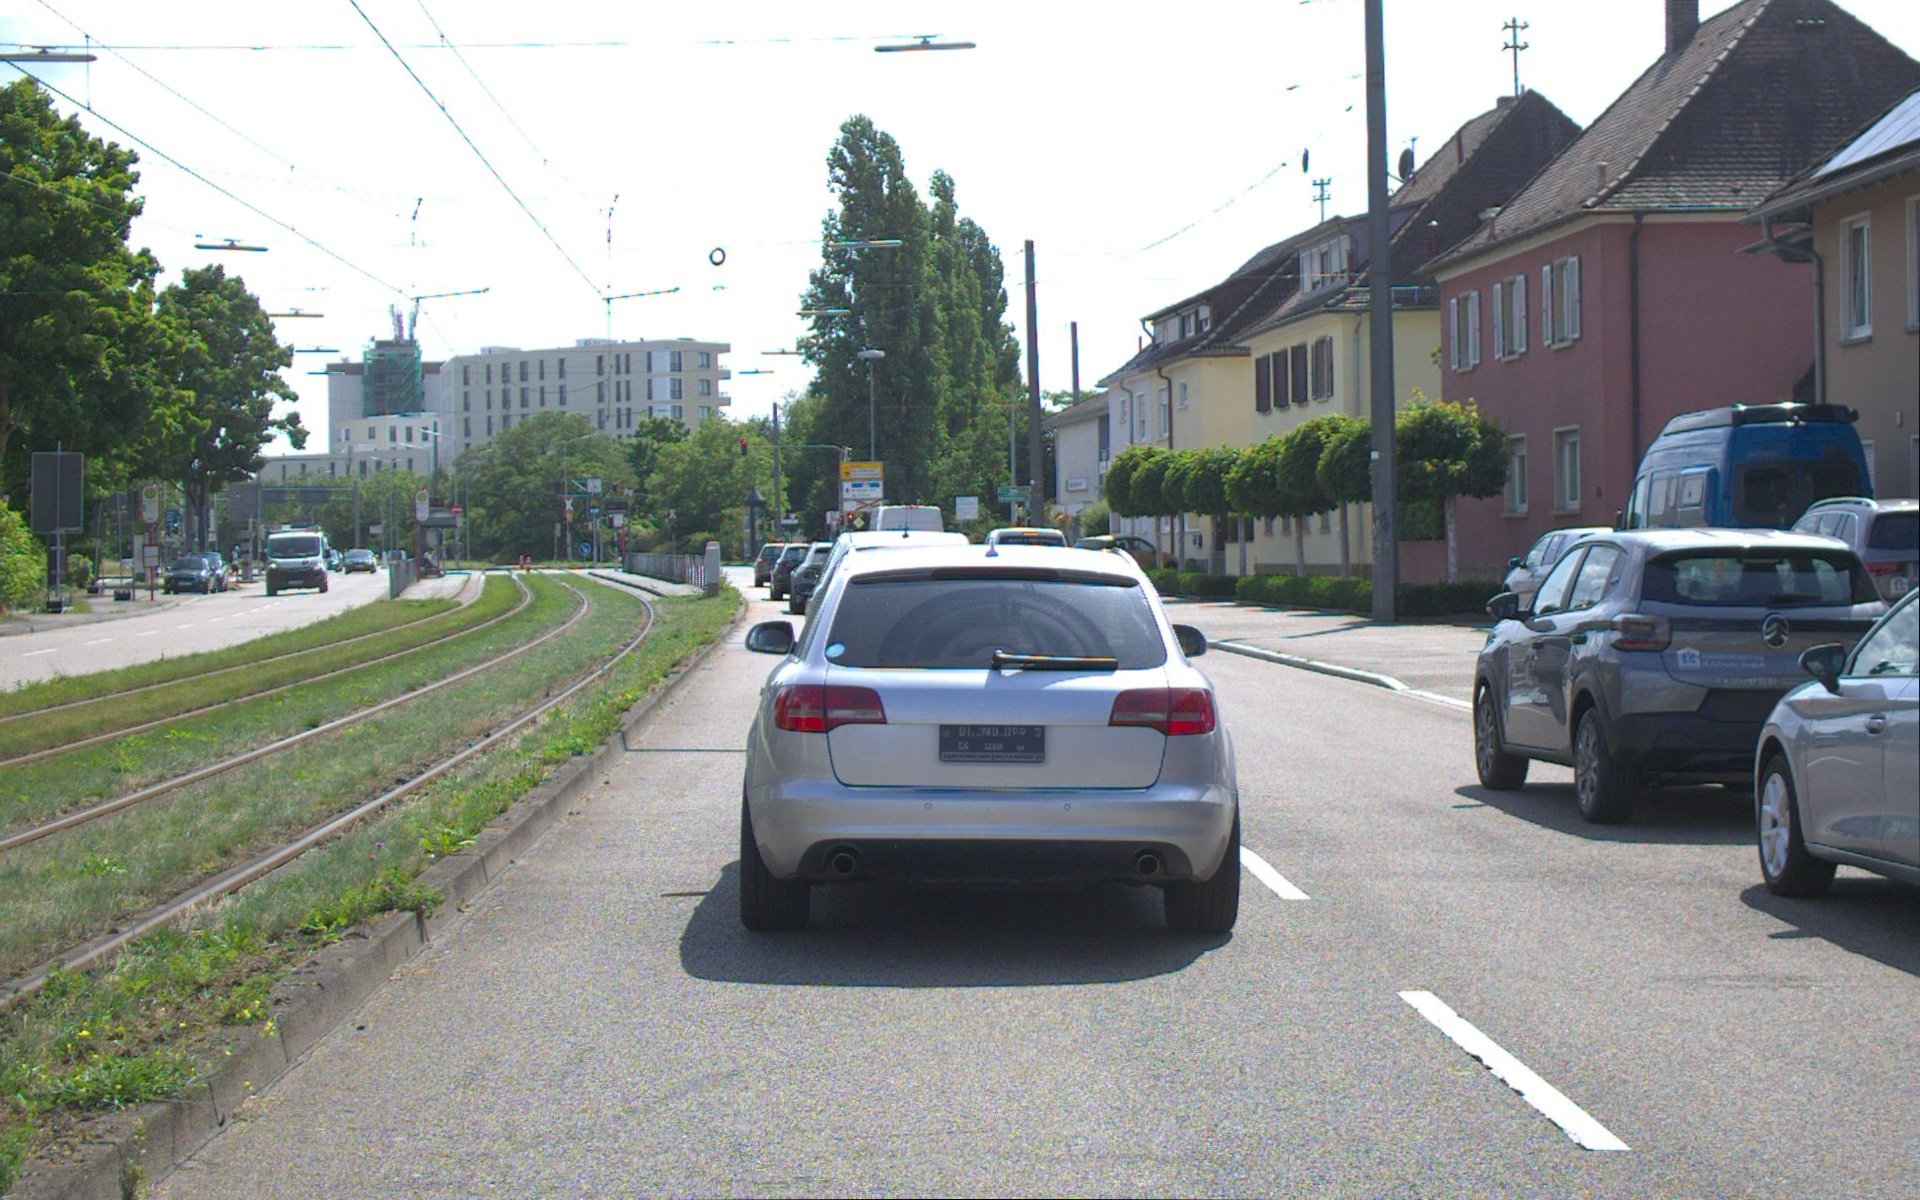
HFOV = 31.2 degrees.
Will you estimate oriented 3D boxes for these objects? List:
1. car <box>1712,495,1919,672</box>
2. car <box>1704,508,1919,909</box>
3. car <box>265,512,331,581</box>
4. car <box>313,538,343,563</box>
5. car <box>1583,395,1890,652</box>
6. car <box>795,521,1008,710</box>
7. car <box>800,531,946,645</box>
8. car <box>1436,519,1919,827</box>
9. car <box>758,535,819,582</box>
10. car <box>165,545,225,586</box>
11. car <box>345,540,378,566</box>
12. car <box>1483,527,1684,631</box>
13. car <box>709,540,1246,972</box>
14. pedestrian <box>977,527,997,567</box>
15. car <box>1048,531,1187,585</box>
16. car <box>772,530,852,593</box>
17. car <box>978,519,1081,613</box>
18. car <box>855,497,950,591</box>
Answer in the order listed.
[{"bbox_3d":[9.545,-0.228,36.370,1.836,1.705,4.865,-2,1,-3],"label":"car"},{"bbox_3d":[4.353,0.400,12.996,1.814,1.449,4.644,1,0,-3],"label":"car"},{"bbox_3d":[-23.521,-1.881,122.187,2.196,2.364,5.334,-2,1,-11],"label":"car"},{"bbox_3d":[-42.444,-3.320,230.757,1.862,1.645,4.001,1,0,-12],"label":"car"},{"bbox_3d":[9.485,-0.905,42.613,2.151,2.920,6.245,1,0,-2],"label":"car"},{"bbox_3d":[-0.571,0.102,31.640,1.787,1.571,4.095,2,1,-2],"label":"car"},{"bbox_3d":[-1.167,-0.196,46.910,1.885,1.461,4.095,-1,1,-1],"label":"car"},{"bbox_3d":[4.061,0.360,19.725,1.807,1.554,4.254,1,0,-4],"label":"car"},{"bbox_3d":[-5.768,-1.399,115.869,1.885,1.525,4.094,1,0,-1],"label":"car"},{"bbox_3d":[-29.630,-1.355,133.269,1.786,1.578,3.931,0,1,-6],"label":"car"},{"bbox_3d":[-36.701,-2.888,210.730,1.896,1.536,3.730,1,0,-11],"label":"car"},{"bbox_3d":[8.917,-0.305,49.504,1.648,1.404,4.351,-1,1,-7],"label":"car"},{"bbox_3d":[0.057,0.506,14.197,1.854,1.487,4.536,0,1,0],"label":"car"},{"bbox_3d":[1.205,-2.385,154.304,0.721,1.776,0.703,-3,1,-5],"label":"pedestrian"},{"bbox_3d":[4.683,-1.266,101.962,1.914,1.453,4.083,1,3,43],"label":"car"},{"bbox_3d":[-3.721,-0.974,87.004,1.885,1.525,4.094,1,0,-1],"label":"car"},{"bbox_3d":[1.353,-0.667,65.849,1.885,1.725,4.094,-1,1,2],"label":"car"},{"bbox_3d":[-1.645,-1.576,96.552,2.040,2.549,5.232,0,1,-8],"label":"car"}]
